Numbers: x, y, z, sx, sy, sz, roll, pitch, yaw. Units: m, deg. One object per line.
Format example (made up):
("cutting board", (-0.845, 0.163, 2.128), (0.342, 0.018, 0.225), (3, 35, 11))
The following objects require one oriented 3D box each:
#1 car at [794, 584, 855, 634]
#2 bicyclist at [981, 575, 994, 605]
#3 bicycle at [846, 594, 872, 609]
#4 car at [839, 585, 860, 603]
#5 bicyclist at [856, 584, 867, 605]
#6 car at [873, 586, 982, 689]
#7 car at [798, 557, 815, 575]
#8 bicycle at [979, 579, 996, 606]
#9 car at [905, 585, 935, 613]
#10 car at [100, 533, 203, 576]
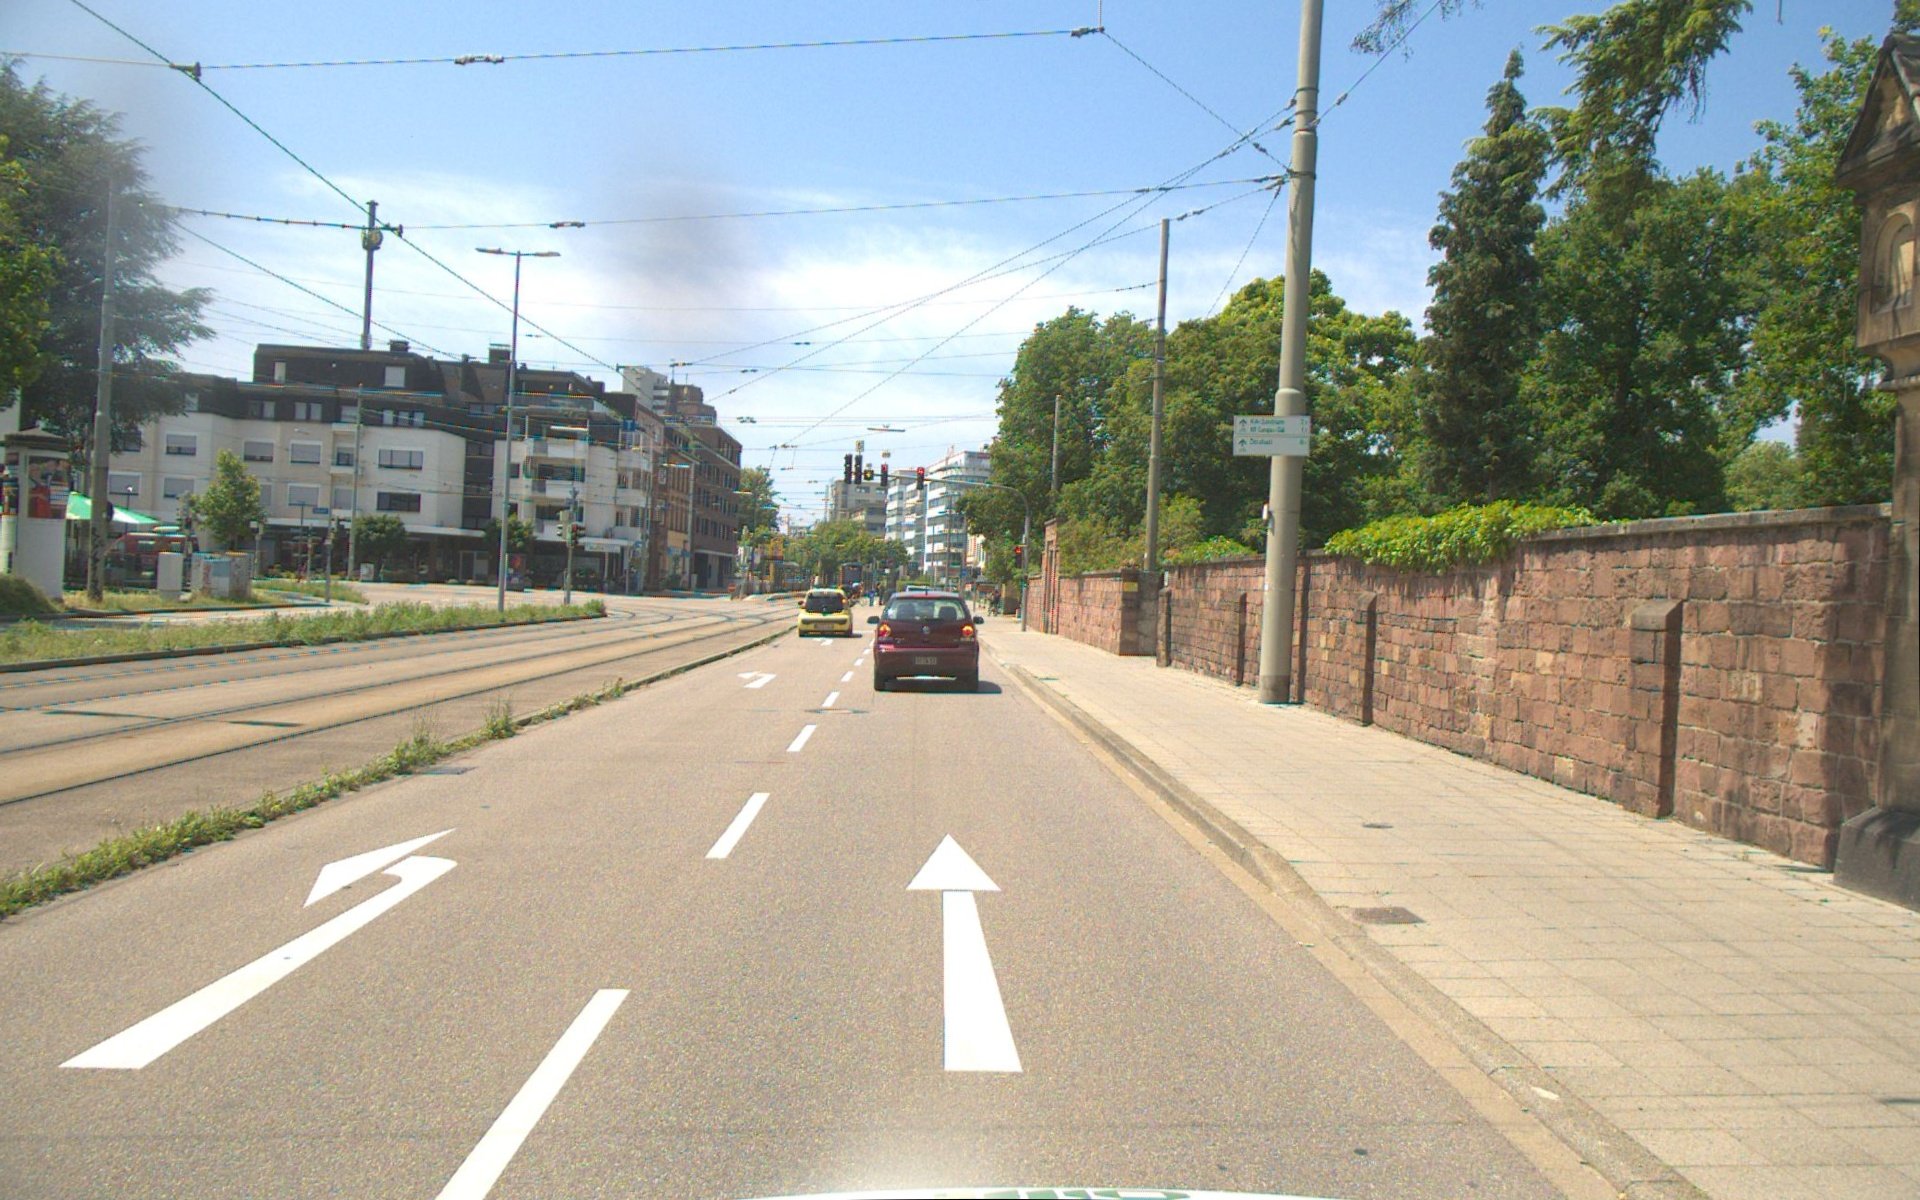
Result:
("car", (-4.184, 0.266, 51.487), (1.689, 1.470, 3.291), (1, 1, -2))
("bicyclist", (1.686, -0.609, 101.342), (0.707, 1.850, 0.888), (1, -1, -1))
("bicycle", (-7.141, 0.115, 116.915), (1.829, 1.025, 0.578), (2, -1, -6))
("car", (-10.903, -0.611, 163.349), (1.899, 1.670, 3.998), (1, -1, -2))
("bicyclist", (-6.979, -0.406, 116.959), (0.751, 1.430, 0.506), (1, -1, -5))
("car", (-0.533, 0.536, 26.030), (1.577, 1.489, 4.084), (1, 0, -2))
("car", (-18.616, -4.139, 200.487), (1.700, 2.048, 3.999), (3, 0, -1))
("bicycle", (1.665, -0.435, 101.367), (0.818, 1.552, 3.999), (1, -1, -1))
("car", (-2.099, -0.051, 86.344), (1.541, 1.440, 3.719), (1, 0, -2))
("car", (-48.593, -2.732, 99.471), (4.963, 2.382, 2.243), (2, -1, -3))
